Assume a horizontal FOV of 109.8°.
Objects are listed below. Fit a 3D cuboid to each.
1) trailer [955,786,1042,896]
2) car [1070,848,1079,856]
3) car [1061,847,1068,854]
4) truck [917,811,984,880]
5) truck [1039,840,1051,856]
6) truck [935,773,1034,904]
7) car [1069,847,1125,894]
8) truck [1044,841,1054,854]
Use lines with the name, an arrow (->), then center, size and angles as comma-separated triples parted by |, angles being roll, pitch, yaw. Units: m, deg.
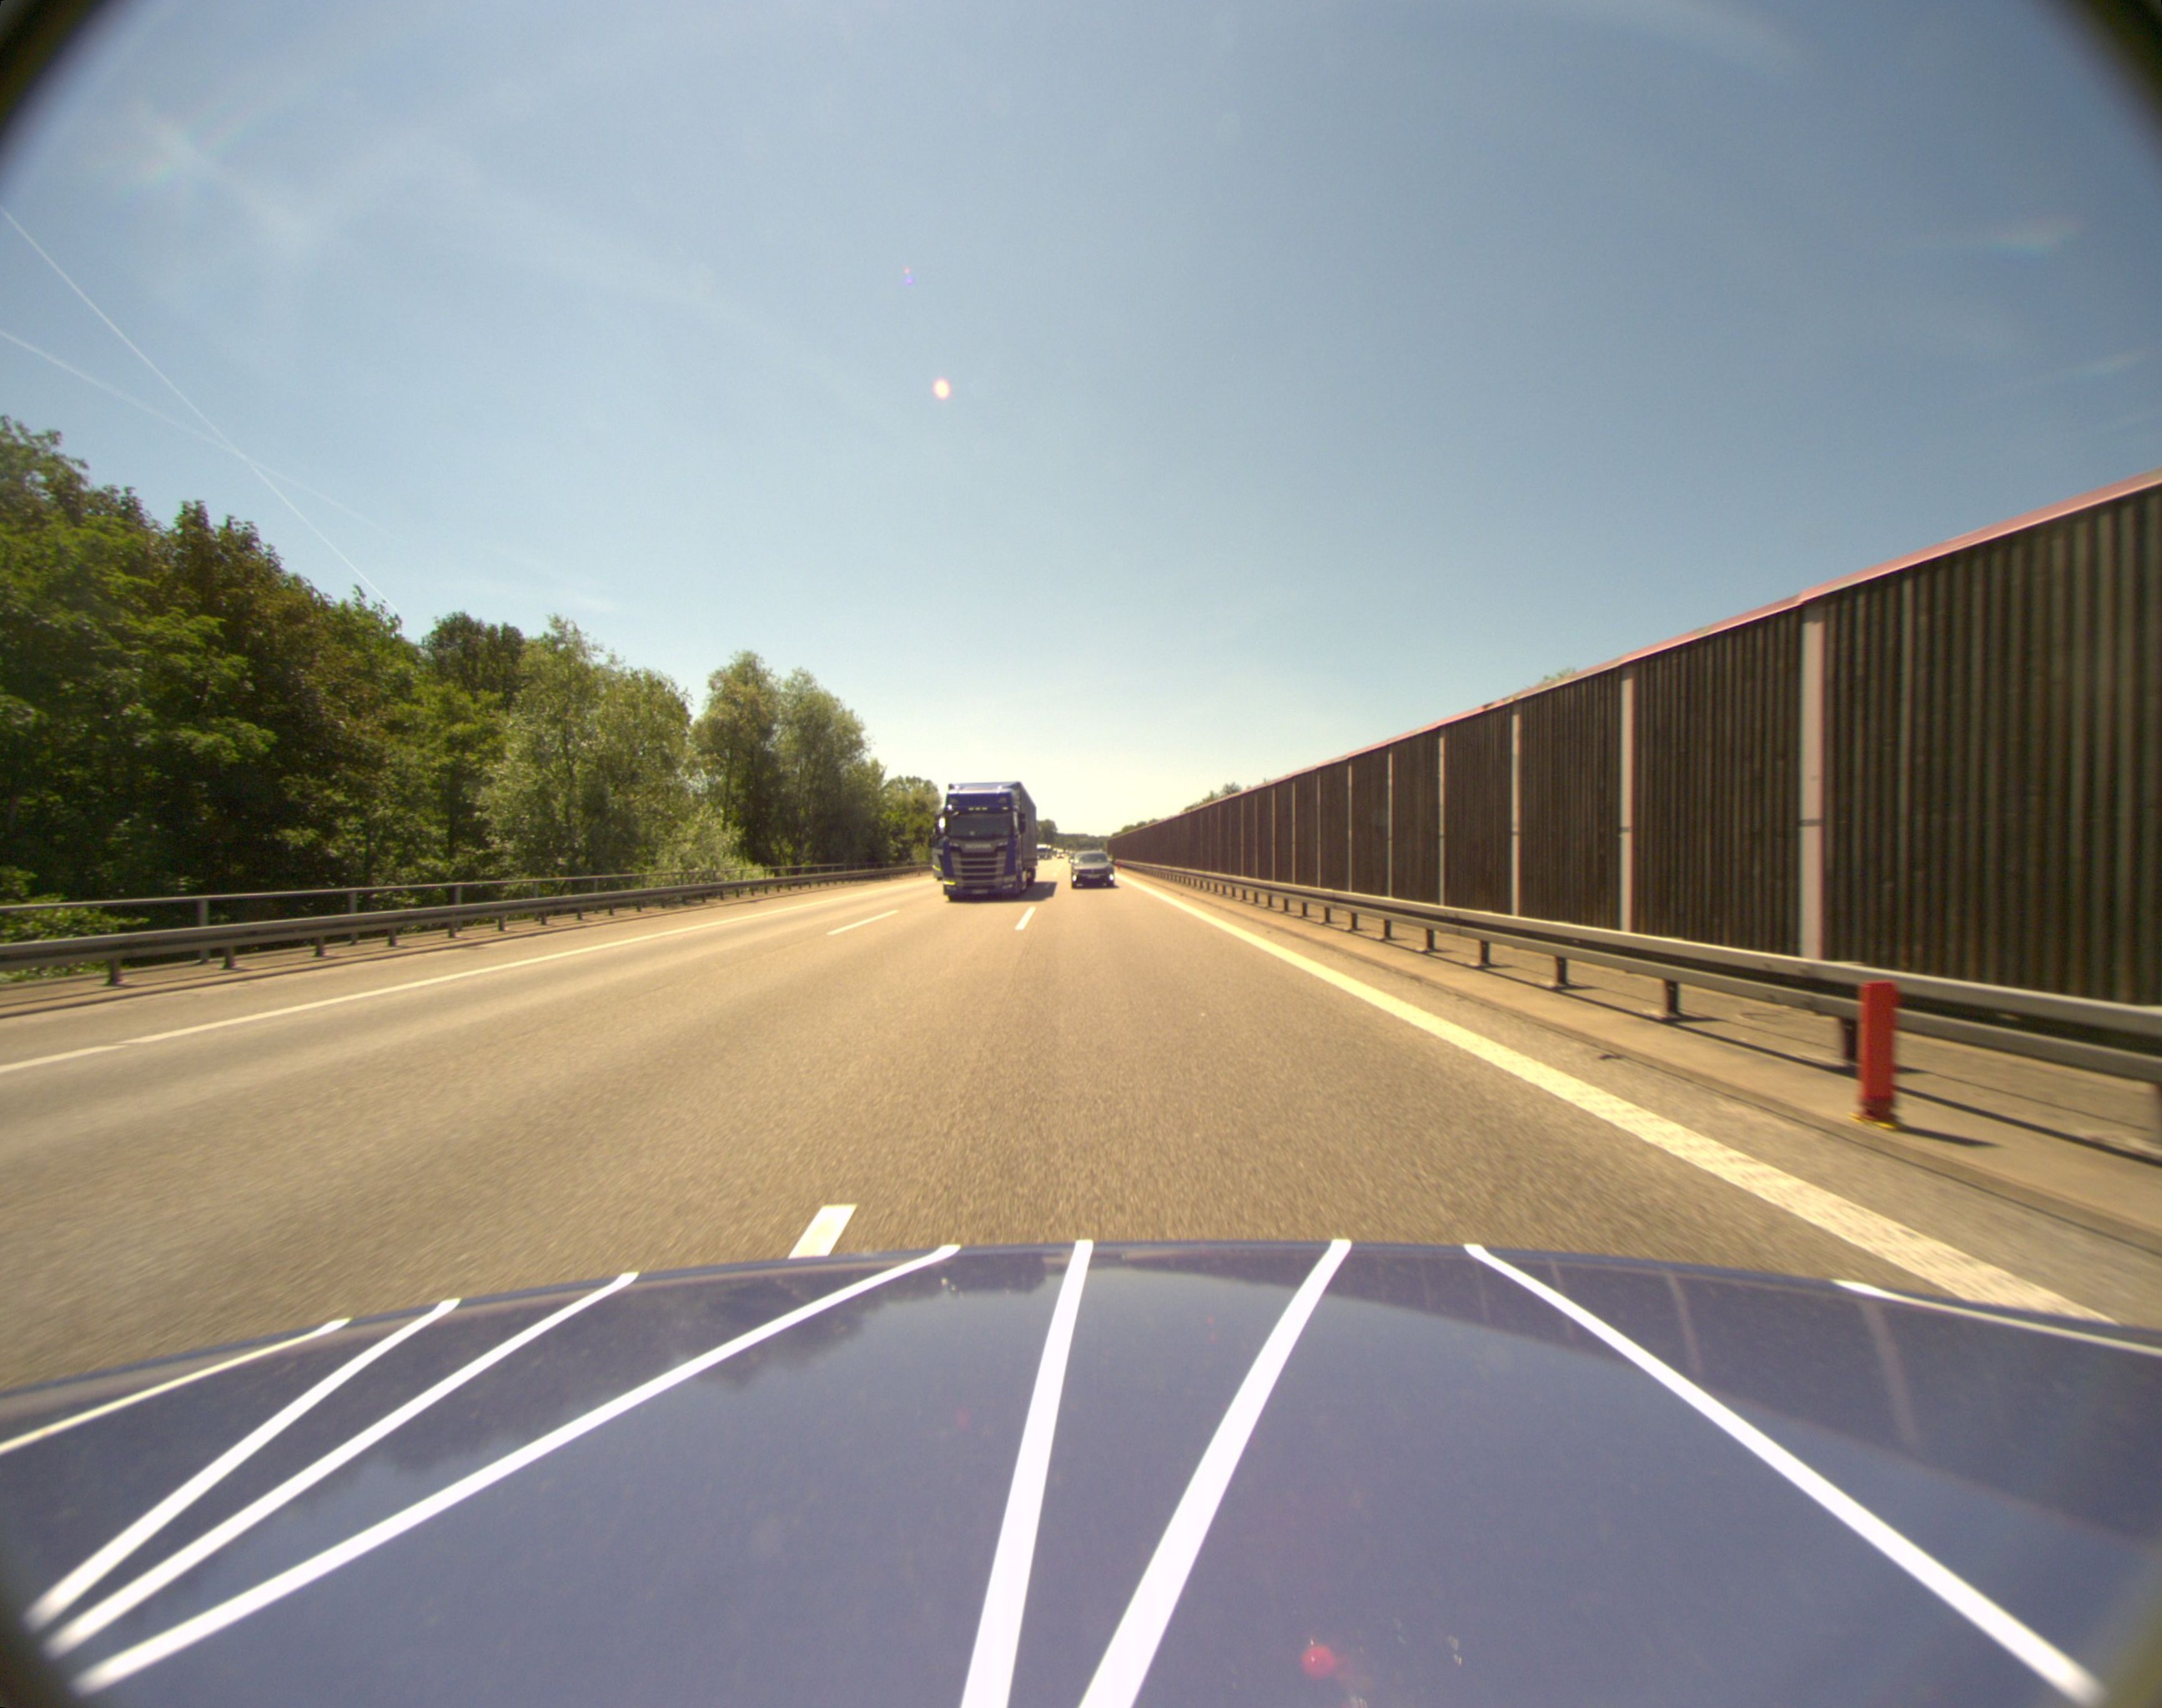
trailer -> -3.415, -0.523, 34.682 | 2.707, 4.094, 12.129 | -2, 0, -1
car -> -1.492, -0.498, 184.310 | 1.998, 1.717, 4.000 | -2, 0, 0
car -> -4.760, -1.114, 222.631 | 1.999, 2.002, 3.999 | -2, 0, -3
truck -> -8.669, -0.536, 51.727 | 2.820, 4.139, 10.446 | -2, 0, -1
truck -> -9.576, -1.569, 203.081 | 2.992, 4.248, 9.821 | -2, 0, -2
truck -> -3.302, -0.504, 27.746 | 2.707, 4.094, 6.989 | -2, 0, -1
car -> 0.542, 0.588, 29.858 | 1.885, 1.630, 5.007 | -1, 0, -2
truck -> -9.577, -1.889, 229.647 | 2.743, 3.844, 12.463 | -1, 1, -2
